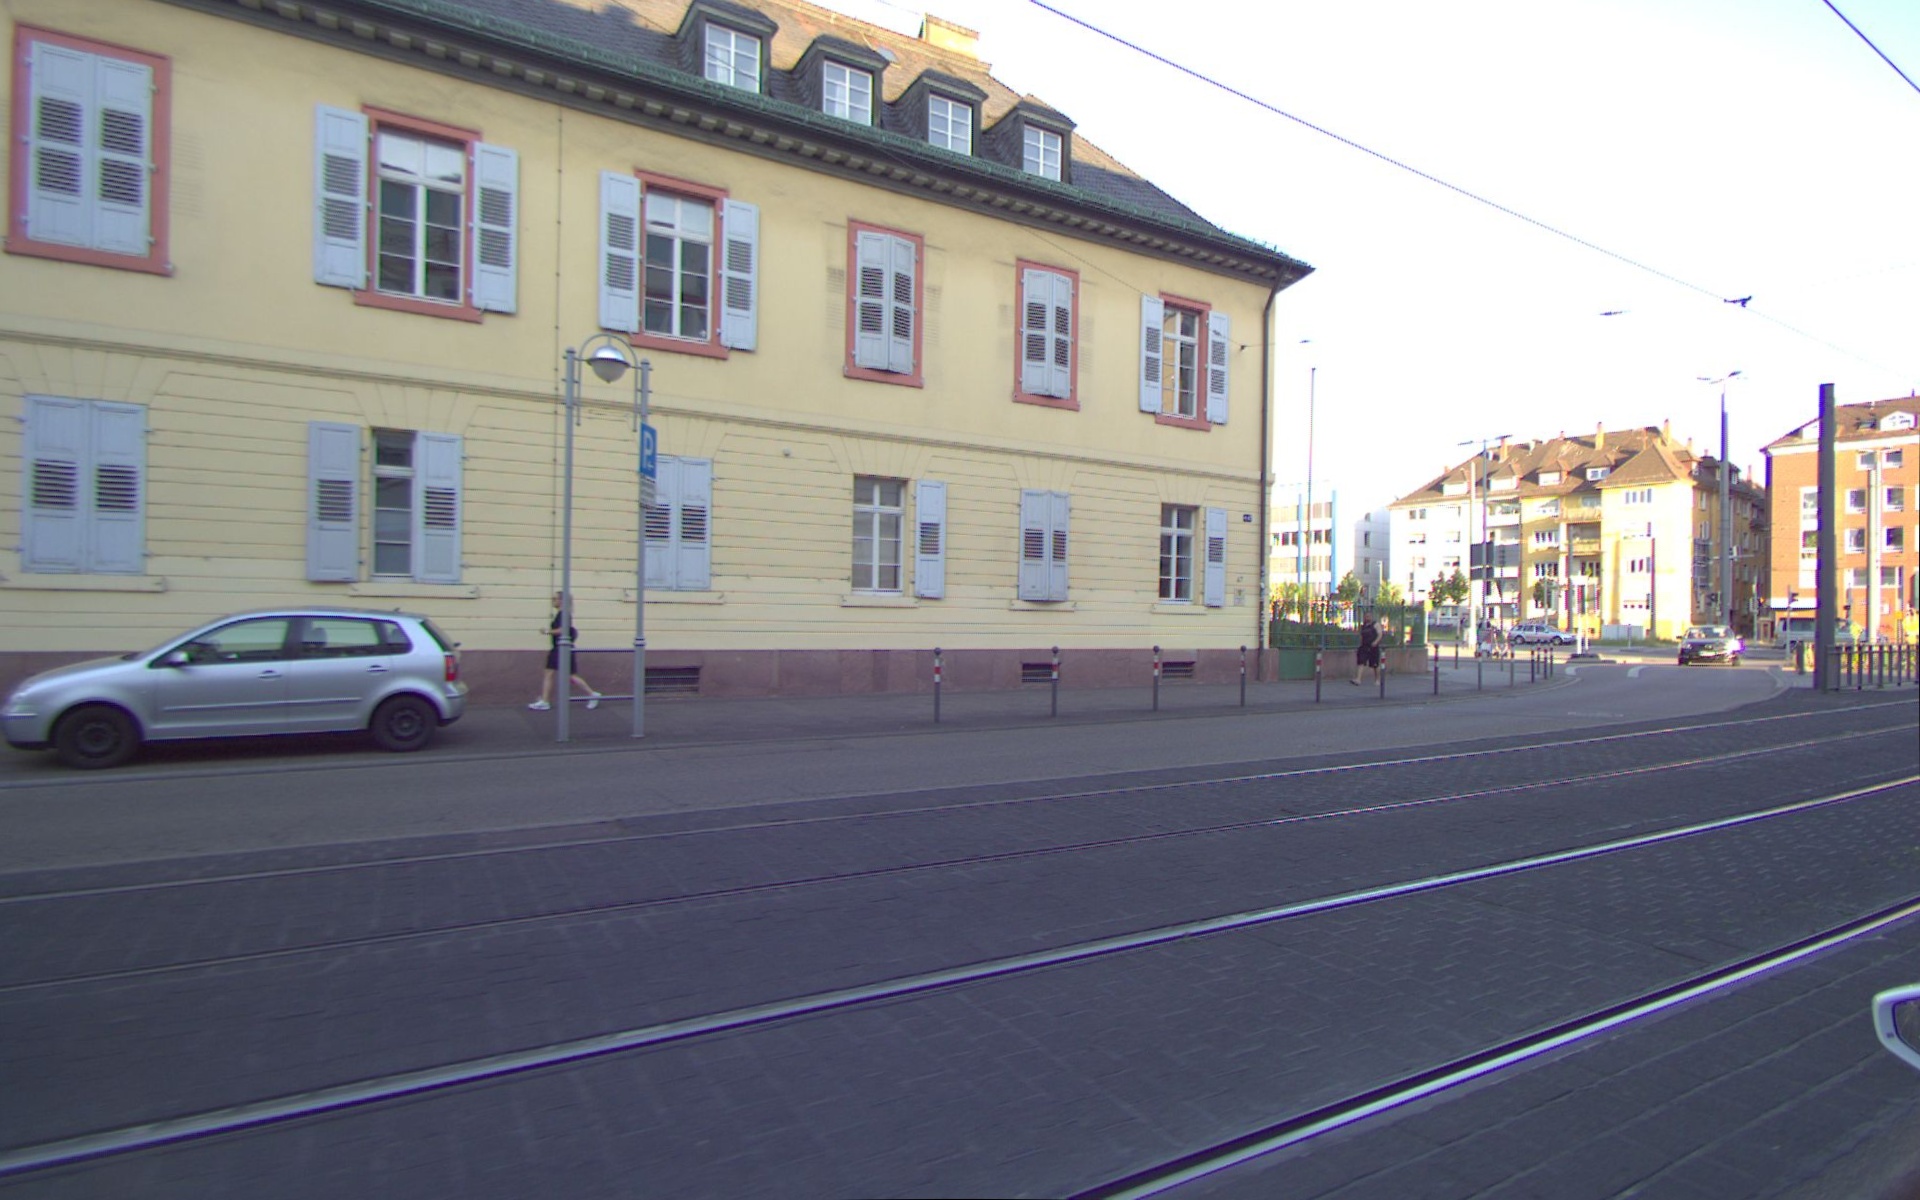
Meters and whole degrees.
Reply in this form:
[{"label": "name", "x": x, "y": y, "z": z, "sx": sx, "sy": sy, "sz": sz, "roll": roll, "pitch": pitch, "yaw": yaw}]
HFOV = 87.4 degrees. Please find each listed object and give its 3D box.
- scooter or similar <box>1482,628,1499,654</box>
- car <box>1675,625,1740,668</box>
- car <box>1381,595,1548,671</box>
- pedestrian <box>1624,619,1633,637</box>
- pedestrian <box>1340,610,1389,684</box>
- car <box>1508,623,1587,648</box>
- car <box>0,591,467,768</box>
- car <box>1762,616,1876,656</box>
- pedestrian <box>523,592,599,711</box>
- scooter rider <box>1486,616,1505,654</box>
[{"label": "scooter or similar", "x": 22.871, "y": 1.760, "z": 43.283, "sx": 0.420, "sy": 1.077, "sz": 1.618, "roll": 2, "pitch": 1, "yaw": 35}, {"label": "car", "x": 26.559, "y": 1.620, "z": 35.767, "sx": 1.744, "sy": 1.394, "sz": 4.208, "roll": 1, "pitch": -1, "yaw": 36}, {"label": "car", "x": 14.614, "y": 0.915, "z": 29.184, "sx": 3.945, "sy": 2.040, "sz": 1.988, "roll": 0, "pitch": -1, "yaw": 44}, {"label": "pedestrian", "x": 63.650, "y": 2.628, "z": 95.643, "sx": 0.495, "sy": 1.664, "sz": 0.547, "roll": 1, "pitch": 1, "yaw": -31}, {"label": "pedestrian", "x": 8.800, "y": 1.012, "z": 21.834, "sx": 0.712, "sy": 1.556, "sz": 0.715, "roll": 1, "pitch": -1, "yaw": -34}, {"label": "car", "x": 40.772, "y": 2.448, "z": 69.824, "sx": 1.982, "sy": 1.572, "sz": 4.306, "roll": 2, "pitch": 0, "yaw": -37}, {"label": "car", "x": -7.280, "y": 0.698, "z": 10.232, "sx": 3.954, "sy": 1.494, "sz": 1.739, "roll": 1, "pitch": 1, "yaw": -31}, {"label": "car", "x": 47.326, "y": 1.951, "z": 55.408, "sx": 1.986, "sy": 2.040, "sz": 4.640, "roll": 1, "pitch": -1, "yaw": -42}, {"label": "pedestrian", "x": -5.511, "y": 0.693, "z": 13.871, "sx": 0.866, "sy": 1.562, "sz": 0.796, "roll": 1, "pitch": 1, "yaw": -28}, {"label": "scooter rider", "x": 23.232, "y": 1.508, "z": 43.560, "sx": 0.577, "sy": 1.614, "sz": 0.655, "roll": 3, "pitch": 1, "yaw": 39}]
